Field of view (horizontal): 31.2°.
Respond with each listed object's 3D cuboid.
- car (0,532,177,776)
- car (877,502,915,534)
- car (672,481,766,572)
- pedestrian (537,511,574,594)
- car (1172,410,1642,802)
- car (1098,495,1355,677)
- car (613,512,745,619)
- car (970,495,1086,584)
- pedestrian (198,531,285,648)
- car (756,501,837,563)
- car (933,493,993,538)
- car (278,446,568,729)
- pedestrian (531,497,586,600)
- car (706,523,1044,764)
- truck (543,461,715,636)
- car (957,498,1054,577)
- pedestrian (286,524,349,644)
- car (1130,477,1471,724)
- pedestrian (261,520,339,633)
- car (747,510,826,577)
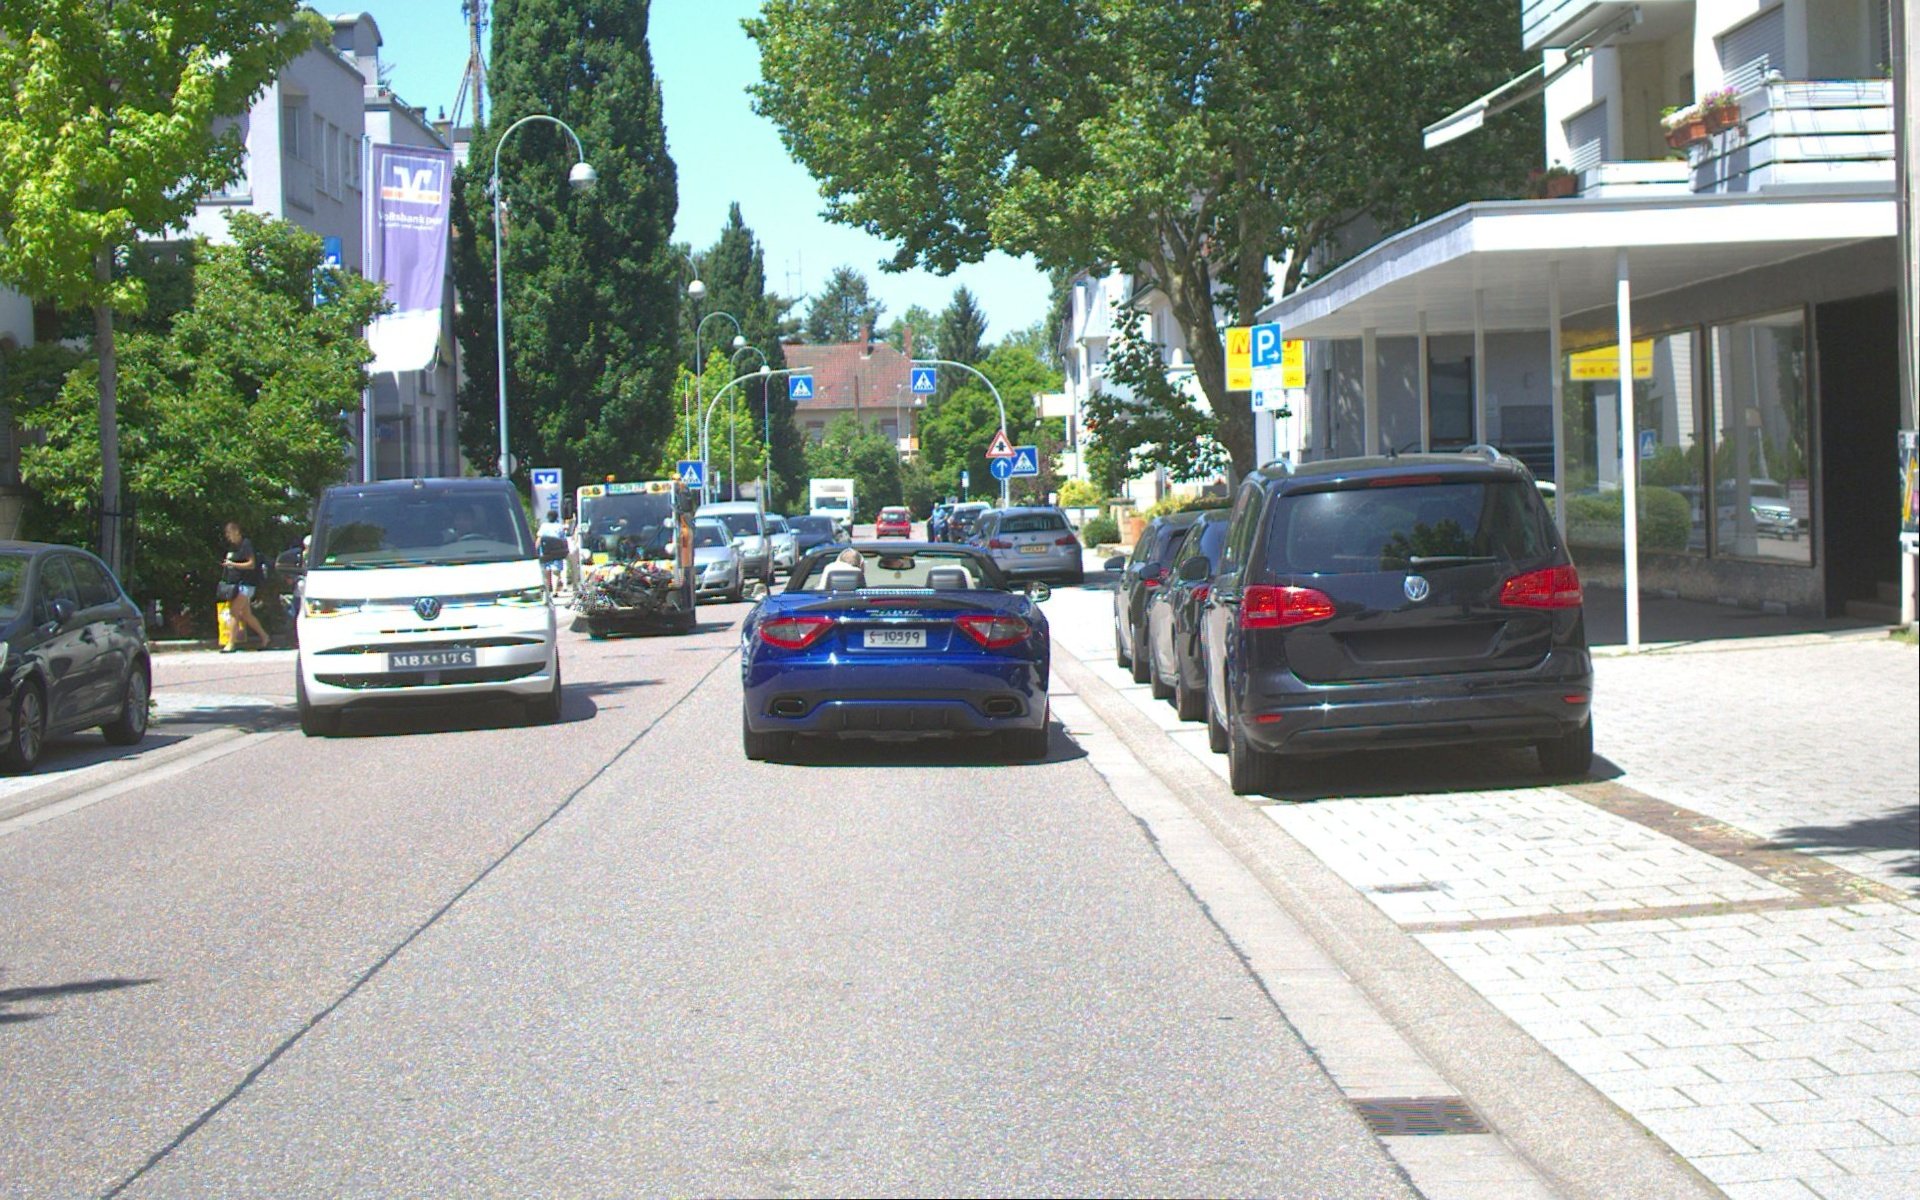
[{"bbox_3d":[-6.768,0.300,23.479,1.754,1.469,4.321,0,2,1],"label":"car"},{"bbox_3d":[-3.129,-3.970,166.530,1.769,1.471,4.138,-2,1,-1],"label":"car"},{"bbox_3d":[-5.123,-1.603,73.480,1.769,1.761,4.138,-3,2,-2],"label":"car"},{"bbox_3d":[-7.819,-0.923,66.453,0.587,1.569,0.781,-2,2,-2],"label":"pedestrian"},{"bbox_3d":[2.316,-0.095,19.000,1.993,1.792,4.570,-3,3,1],"label":"car"},{"bbox_3d":[2.292,-0.164,30.569,1.845,1.409,4.163,-3,1,-1],"label":"car"},{"bbox_3d":[-4.890,-0.643,60.421,1.949,1.503,4.798,-3,4,-1],"label":"car"},{"bbox_3d":[1.251,-1.182,65.486,1.976,1.445,4.350,-4,3,-1],"label":"car"},{"bbox_3d":[-8.825,-0.136,42.240,0.769,1.366,0.550,-8,6,-41],"label":"pedestrian"},{"bbox_3d":[-4.263,-1.819,90.348,1.950,1.471,4.138,-3,2,-1],"label":"car"},{"bbox_3d":[0.085,-3.035,122.404,1.950,1.471,4.138,-3,2,-1],"label":"car"},{"bbox_3d":[-4.103,-0.145,26.978,1.906,1.916,4.907,-3,2,-6],"label":"car"},{"bbox_3d":[-7.763,-0.993,66.502,0.849,1.909,0.761,-3,4,0],"label":"pedestrian"},{"bbox_3d":[-0.587,0.208,22.453,1.976,1.393,4.628,0,1,-2],"label":"car"},{"bbox_3d":[-4.330,-0.740,45.591,1.804,2.110,4.716,-3,2,-1],"label":"truck"},{"bbox_3d":[1.007,-1.444,77.729,1.976,1.551,4.350,-4,3,-1],"label":"car"},{"bbox_3d":[-7.783,-0.201,41.632,0.596,1.366,0.695,-5,4,-15],"label":"pedestrian"},{"bbox_3d":[2.357,-0.042,24.935,1.894,1.525,4.569,-3,1,-1],"label":"car"},{"bbox_3d":[-8.280,-0.296,43.147,0.596,1.366,0.694,-7,5,-42],"label":"pedestrian"},{"bbox_3d":[-4.235,-1.405,84.460,1.769,1.471,4.138,-3,2,-1],"label":"car"}]
